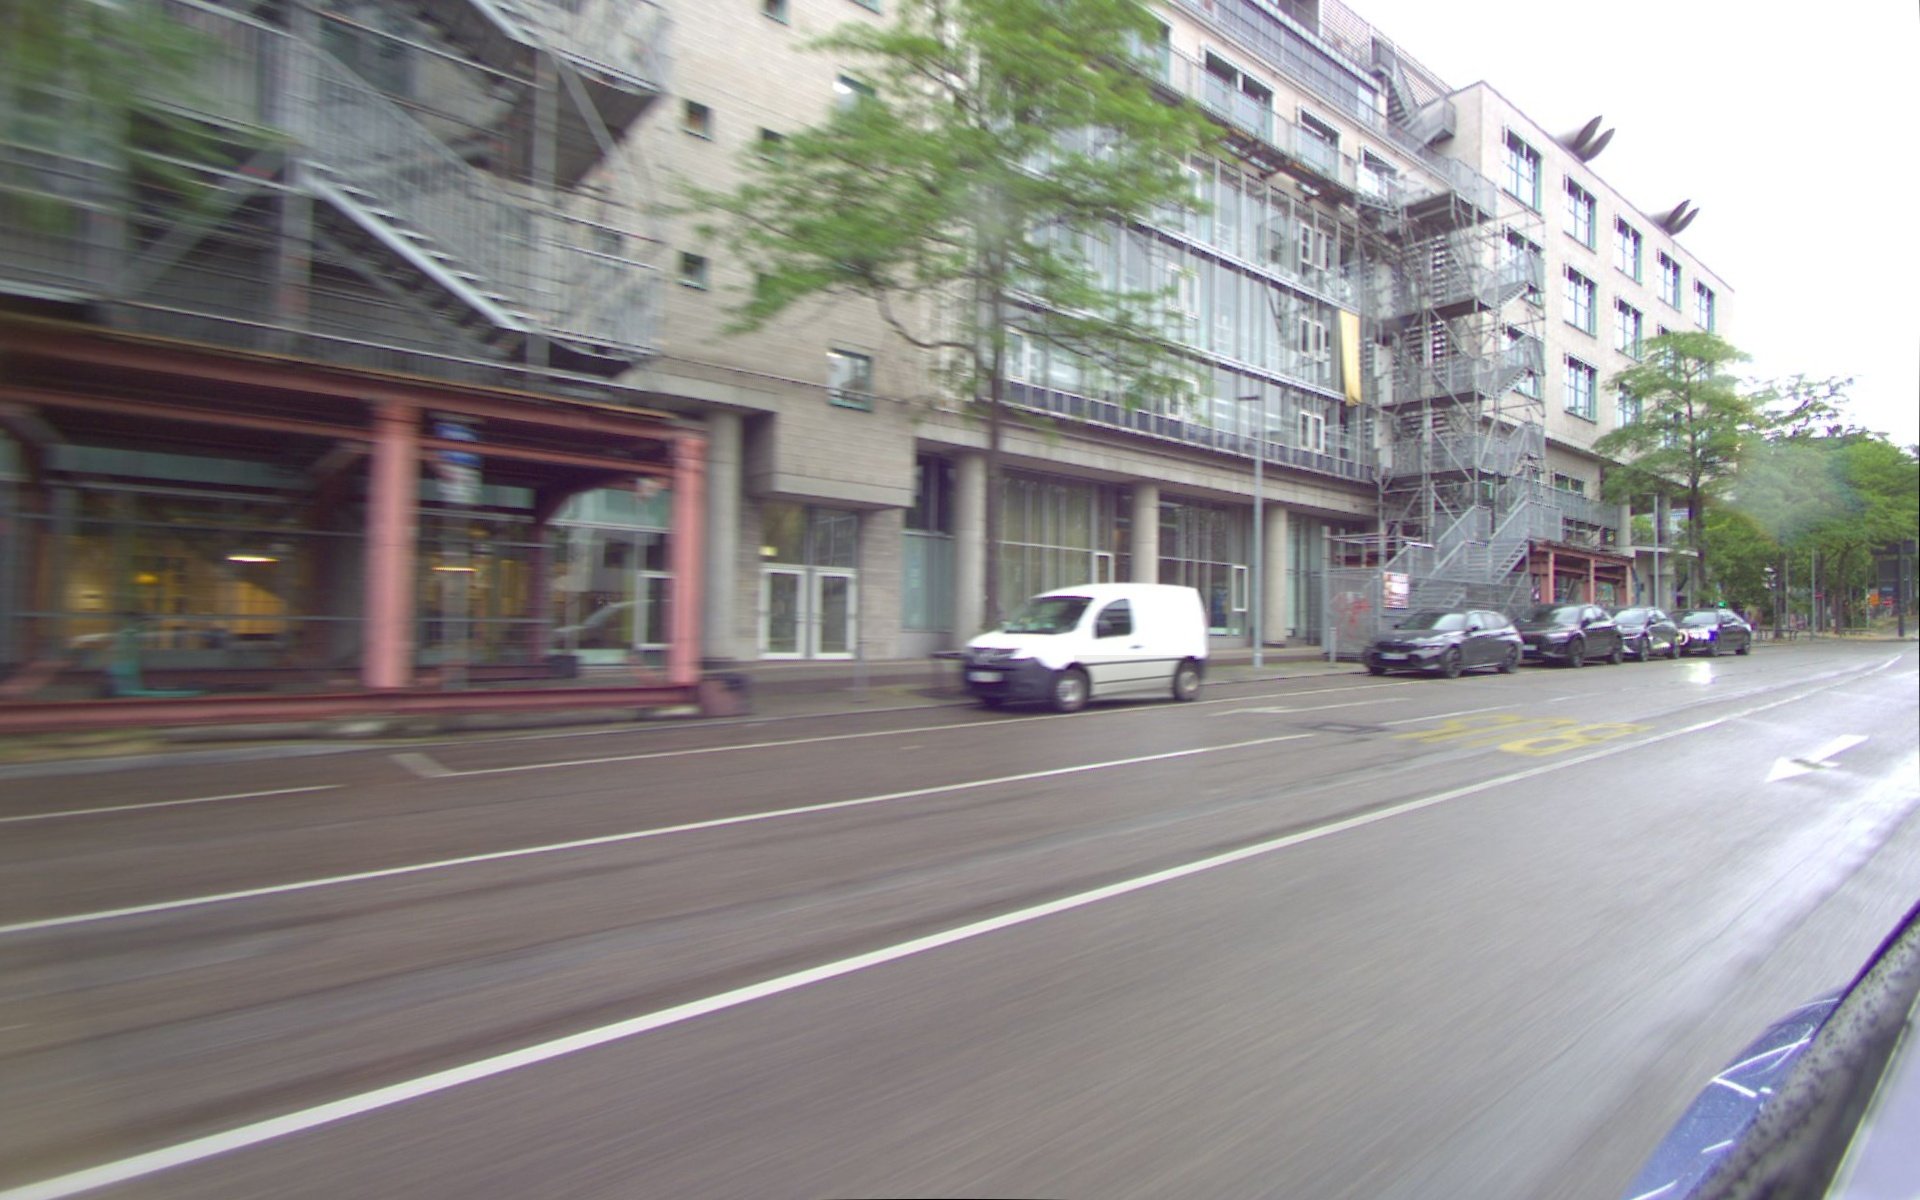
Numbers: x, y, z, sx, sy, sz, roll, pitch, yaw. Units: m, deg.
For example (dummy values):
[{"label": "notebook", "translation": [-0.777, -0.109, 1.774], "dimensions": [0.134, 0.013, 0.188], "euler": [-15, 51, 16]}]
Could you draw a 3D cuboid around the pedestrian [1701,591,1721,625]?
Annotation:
[{"label": "pedestrian", "translation": [45.380, 0.477, 61.159], "dimensions": [0.746, 2.039, 0.869], "euler": [1, -1, -44]}]

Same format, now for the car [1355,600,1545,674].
[{"label": "car", "translation": [10.902, 0.770, 22.354], "dimensions": [4.831, 1.456, 1.873], "euler": [1, 0, -38]}]

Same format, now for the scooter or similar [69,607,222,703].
[{"label": "scooter or similar", "translation": [-10.597, 0.679, 13.205], "dimensions": [1.520, 1.176, 0.632], "euler": [1, -1, -41]}]

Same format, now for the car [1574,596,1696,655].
[{"label": "car", "translation": [20.074, 0.726, 30.023], "dimensions": [4.511, 1.621, 1.865], "euler": [1, 0, -41]}]

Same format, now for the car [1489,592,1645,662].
[{"label": "car", "translation": [16.027, 0.667, 26.633], "dimensions": [4.773, 1.667, 1.998], "euler": [1, 0, -38]}]

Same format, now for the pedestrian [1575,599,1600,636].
[{"label": "pedestrian", "translation": [27.723, 0.777, 44.714], "dimensions": [0.908, 1.616, 0.704], "euler": [1, -1, -42]}]

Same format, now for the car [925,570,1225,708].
[{"label": "car", "translation": [1.833, 0.508, 15.214], "dimensions": [4.446, 1.772, 1.997], "euler": [1, 0, -41]}]

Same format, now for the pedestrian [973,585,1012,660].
[{"label": "pedestrian", "translation": [0.788, 0.524, 24.319], "dimensions": [0.641, 1.764, 0.678], "euler": [1, 0, -38]}]

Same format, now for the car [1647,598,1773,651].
[{"label": "car", "translation": [24.812, 0.778, 33.426], "dimensions": [5.191, 1.621, 1.999], "euler": [1, 0, -37]}]
